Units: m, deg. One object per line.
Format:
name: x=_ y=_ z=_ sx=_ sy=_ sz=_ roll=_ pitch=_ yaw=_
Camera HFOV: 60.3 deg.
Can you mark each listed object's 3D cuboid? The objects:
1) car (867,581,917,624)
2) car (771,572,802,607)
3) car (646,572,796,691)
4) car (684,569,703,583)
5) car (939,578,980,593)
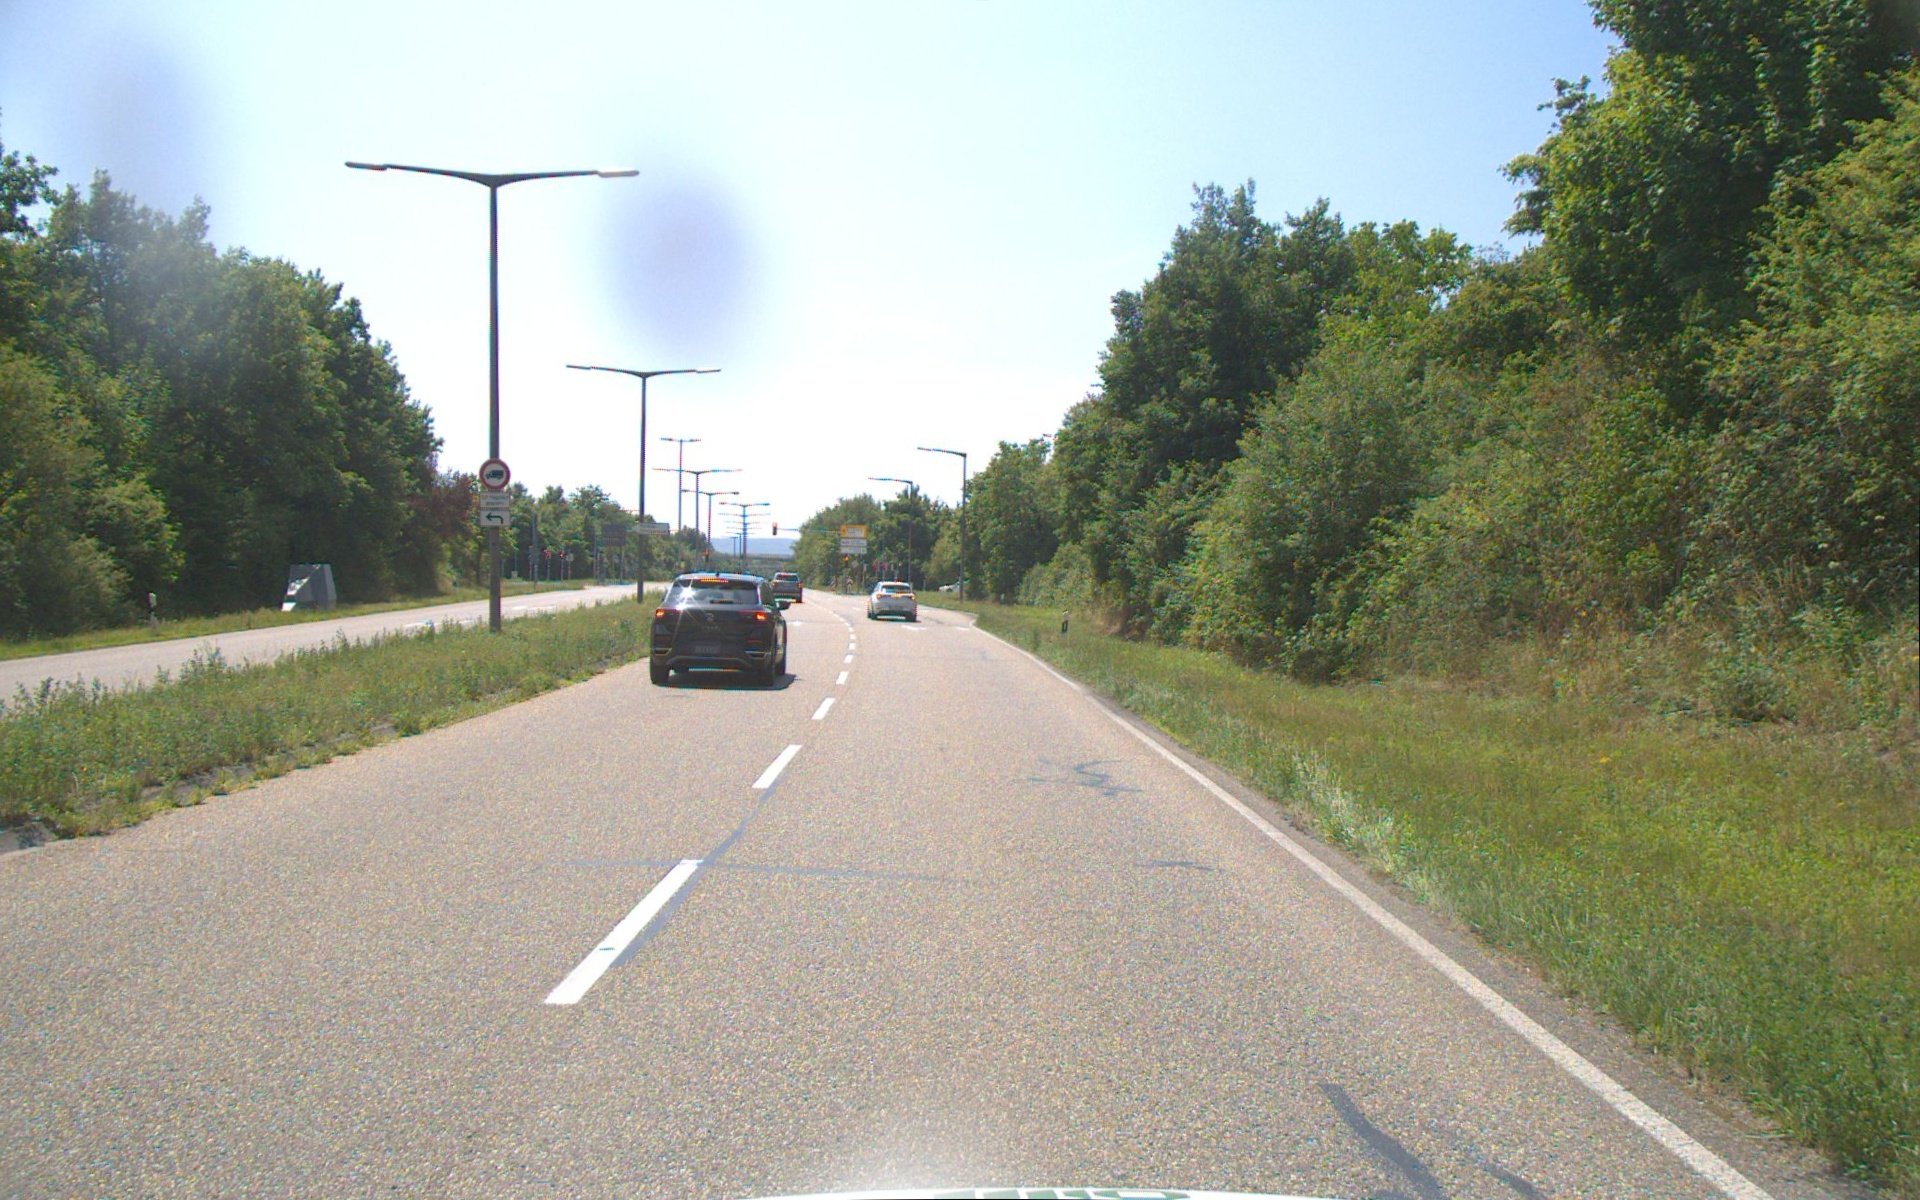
car: x=-2.656 y=0.075 z=63.814 sx=1.762 sy=1.610 sz=3.996 roll=1 pitch=0 yaw=-5
car: x=-10.282 y=-0.610 z=97.761 sx=1.722 sy=1.962 sz=3.994 roll=2 pitch=0 yaw=-7
car: x=-3.450 y=0.419 z=24.535 sx=1.720 sy=1.583 sz=3.999 roll=2 pitch=0 yaw=-2
car: x=-30.673 y=-2.741 z=190.241 sx=1.792 sy=1.545 sz=3.996 roll=2 pitch=0 yaw=-5
car: x=-0.054 y=-1.575 z=180.367 sx=4.033 sy=1.552 sz=1.930 roll=1 pitch=1 yaw=-15
